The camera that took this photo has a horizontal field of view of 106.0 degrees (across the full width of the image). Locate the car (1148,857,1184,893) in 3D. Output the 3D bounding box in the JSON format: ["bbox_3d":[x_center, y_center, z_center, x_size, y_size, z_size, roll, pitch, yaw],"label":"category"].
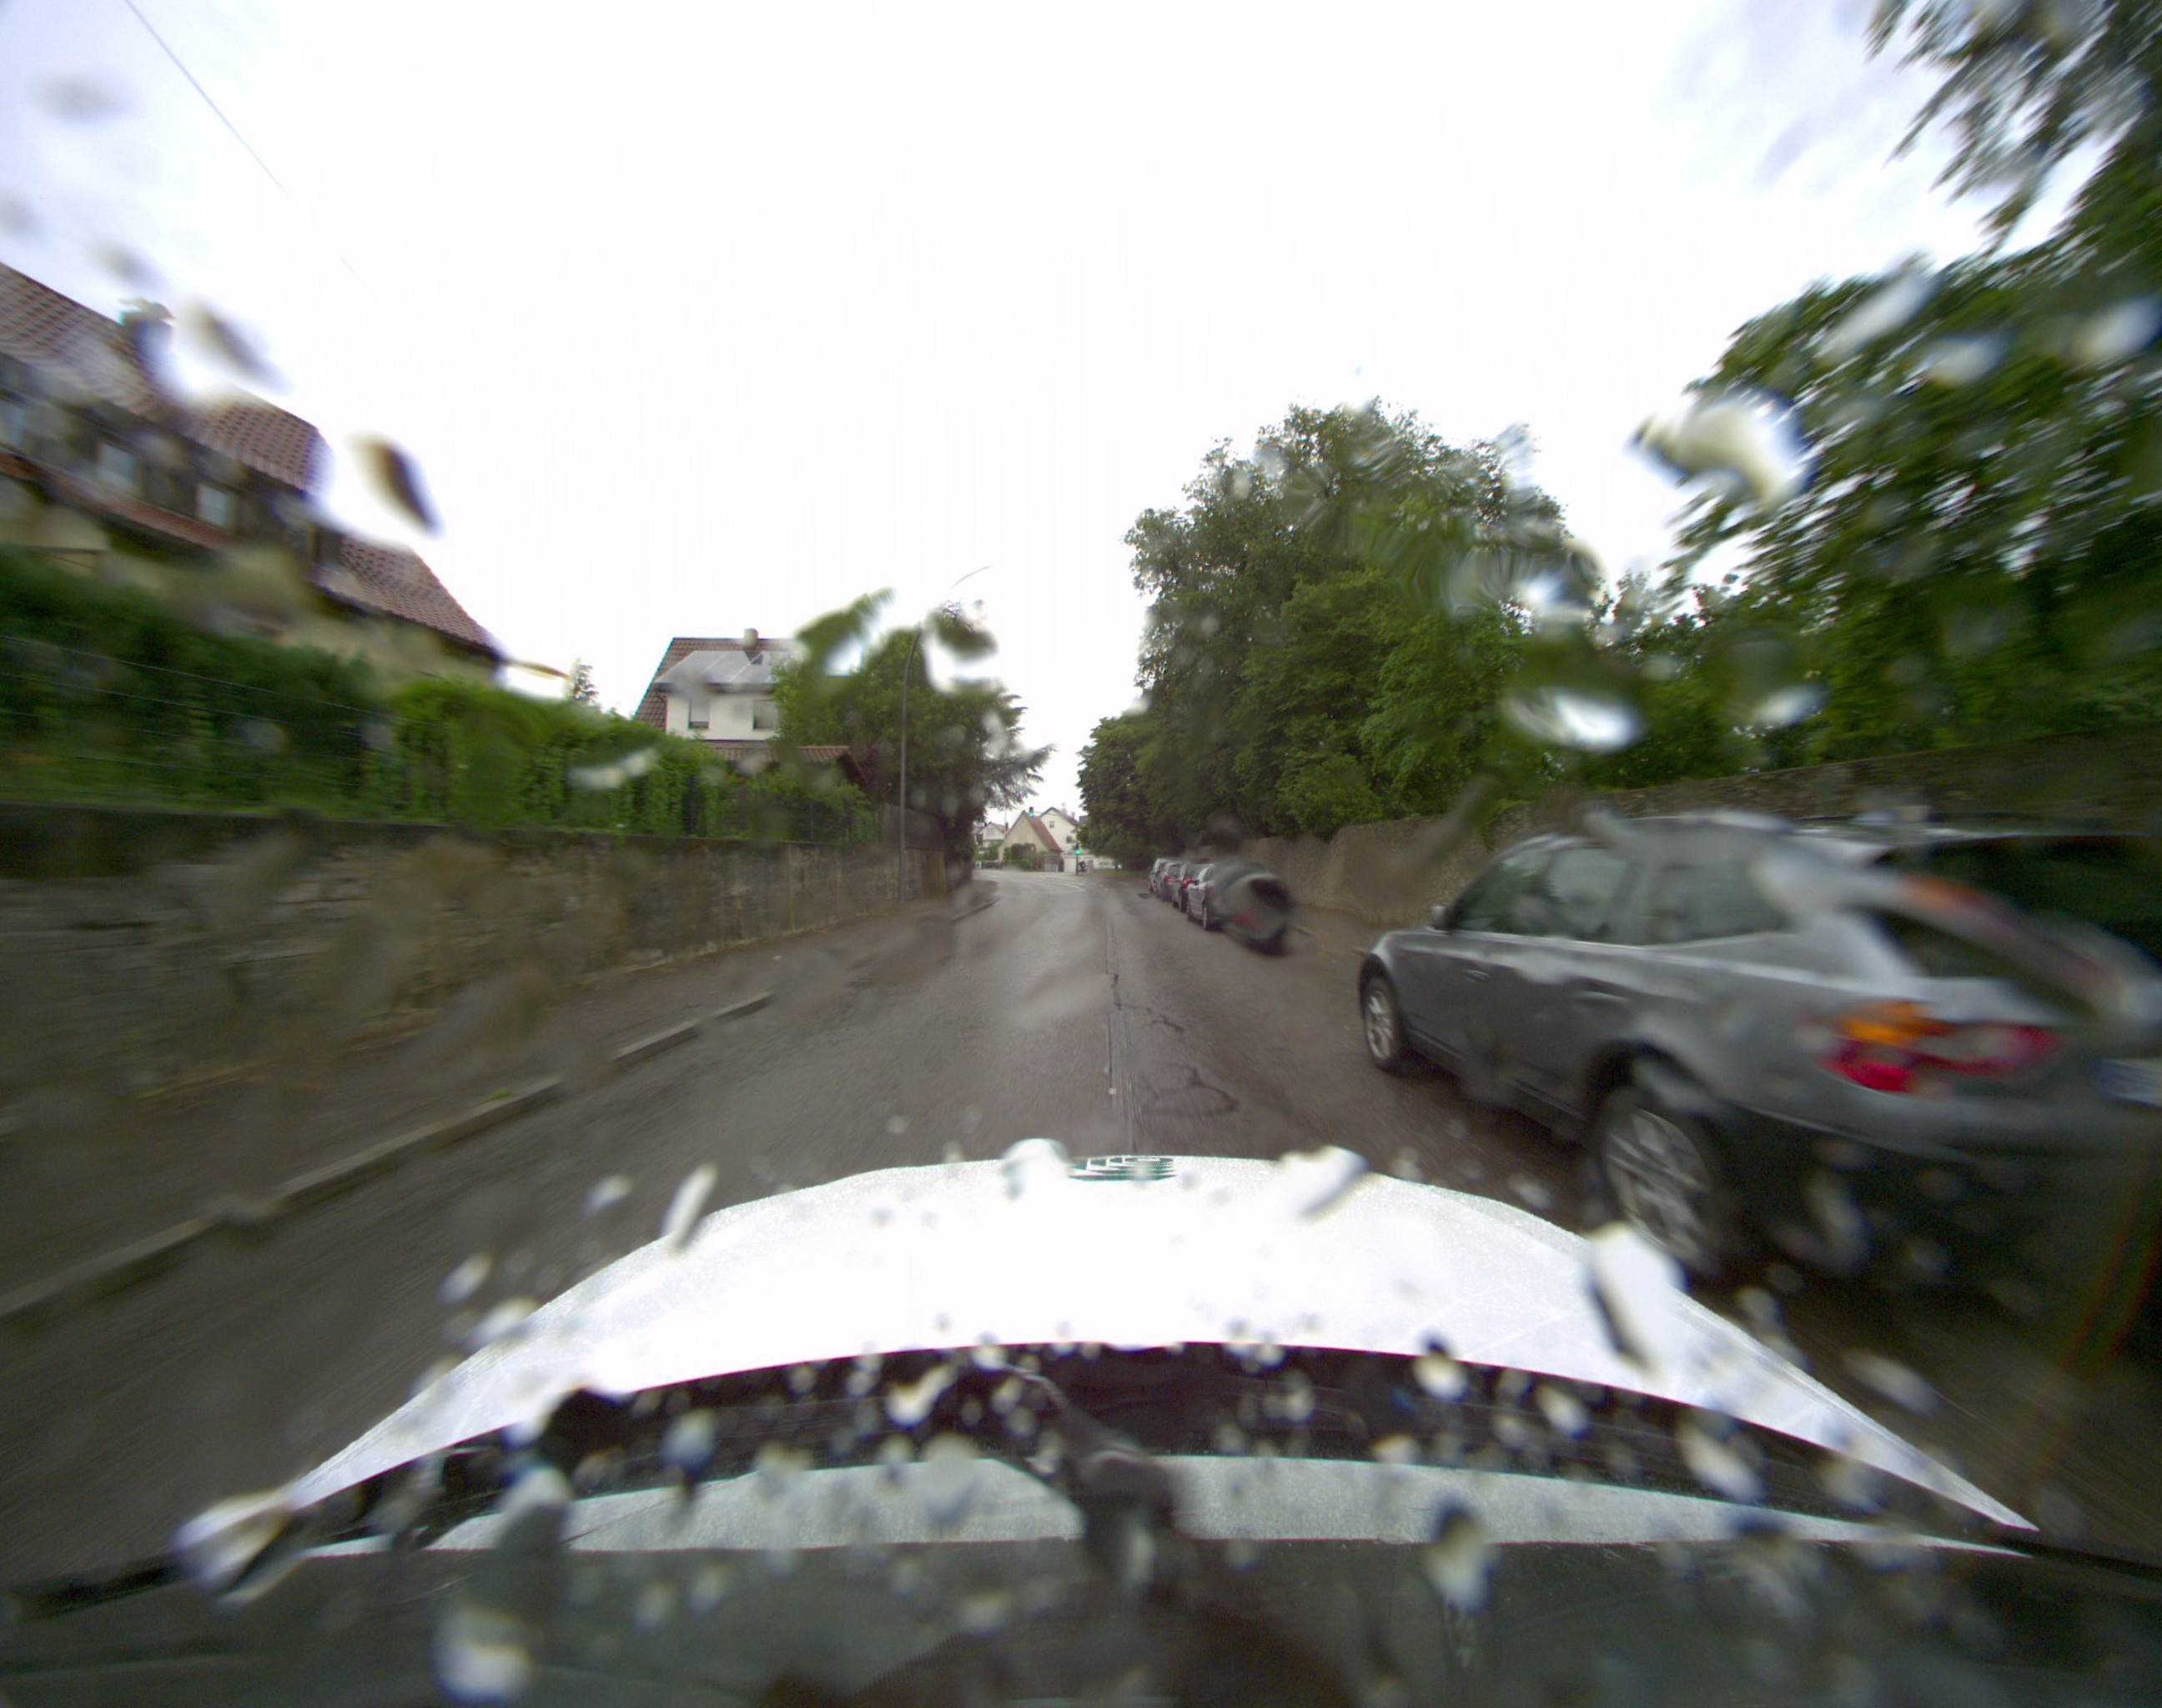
[{"bbox_3d":[3.634,0.908,35.173,1.298,1.497,3.364,0,-1,1],"label":"car"}]

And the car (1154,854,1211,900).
[{"bbox_3d":[3.595,0.823,29.346,1.641,1.497,4.247,0,-1,1],"label":"car"}]

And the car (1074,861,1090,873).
[{"bbox_3d":[0.148,1.727,108.856,1.898,1.442,4.005,-1,0,5],"label":"car"}]

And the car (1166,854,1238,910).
[{"bbox_3d":[3.463,0.807,23.838,1.641,1.497,3.710,0,-1,1],"label":"car"}]

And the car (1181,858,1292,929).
[{"bbox_3d":[3.323,0.788,18.149,1.647,1.371,4.180,-1,0,-1],"label":"car"}]

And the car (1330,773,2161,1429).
[{"bbox_3d":[2.912,0.655,4.359,1.736,1.668,4.495,-1,-1,-1],"label":"car"}]

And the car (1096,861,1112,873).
[{"bbox_3d":[3.099,1.715,108.372,1.898,1.442,4.005,-1,0,5],"label":"car"}]
